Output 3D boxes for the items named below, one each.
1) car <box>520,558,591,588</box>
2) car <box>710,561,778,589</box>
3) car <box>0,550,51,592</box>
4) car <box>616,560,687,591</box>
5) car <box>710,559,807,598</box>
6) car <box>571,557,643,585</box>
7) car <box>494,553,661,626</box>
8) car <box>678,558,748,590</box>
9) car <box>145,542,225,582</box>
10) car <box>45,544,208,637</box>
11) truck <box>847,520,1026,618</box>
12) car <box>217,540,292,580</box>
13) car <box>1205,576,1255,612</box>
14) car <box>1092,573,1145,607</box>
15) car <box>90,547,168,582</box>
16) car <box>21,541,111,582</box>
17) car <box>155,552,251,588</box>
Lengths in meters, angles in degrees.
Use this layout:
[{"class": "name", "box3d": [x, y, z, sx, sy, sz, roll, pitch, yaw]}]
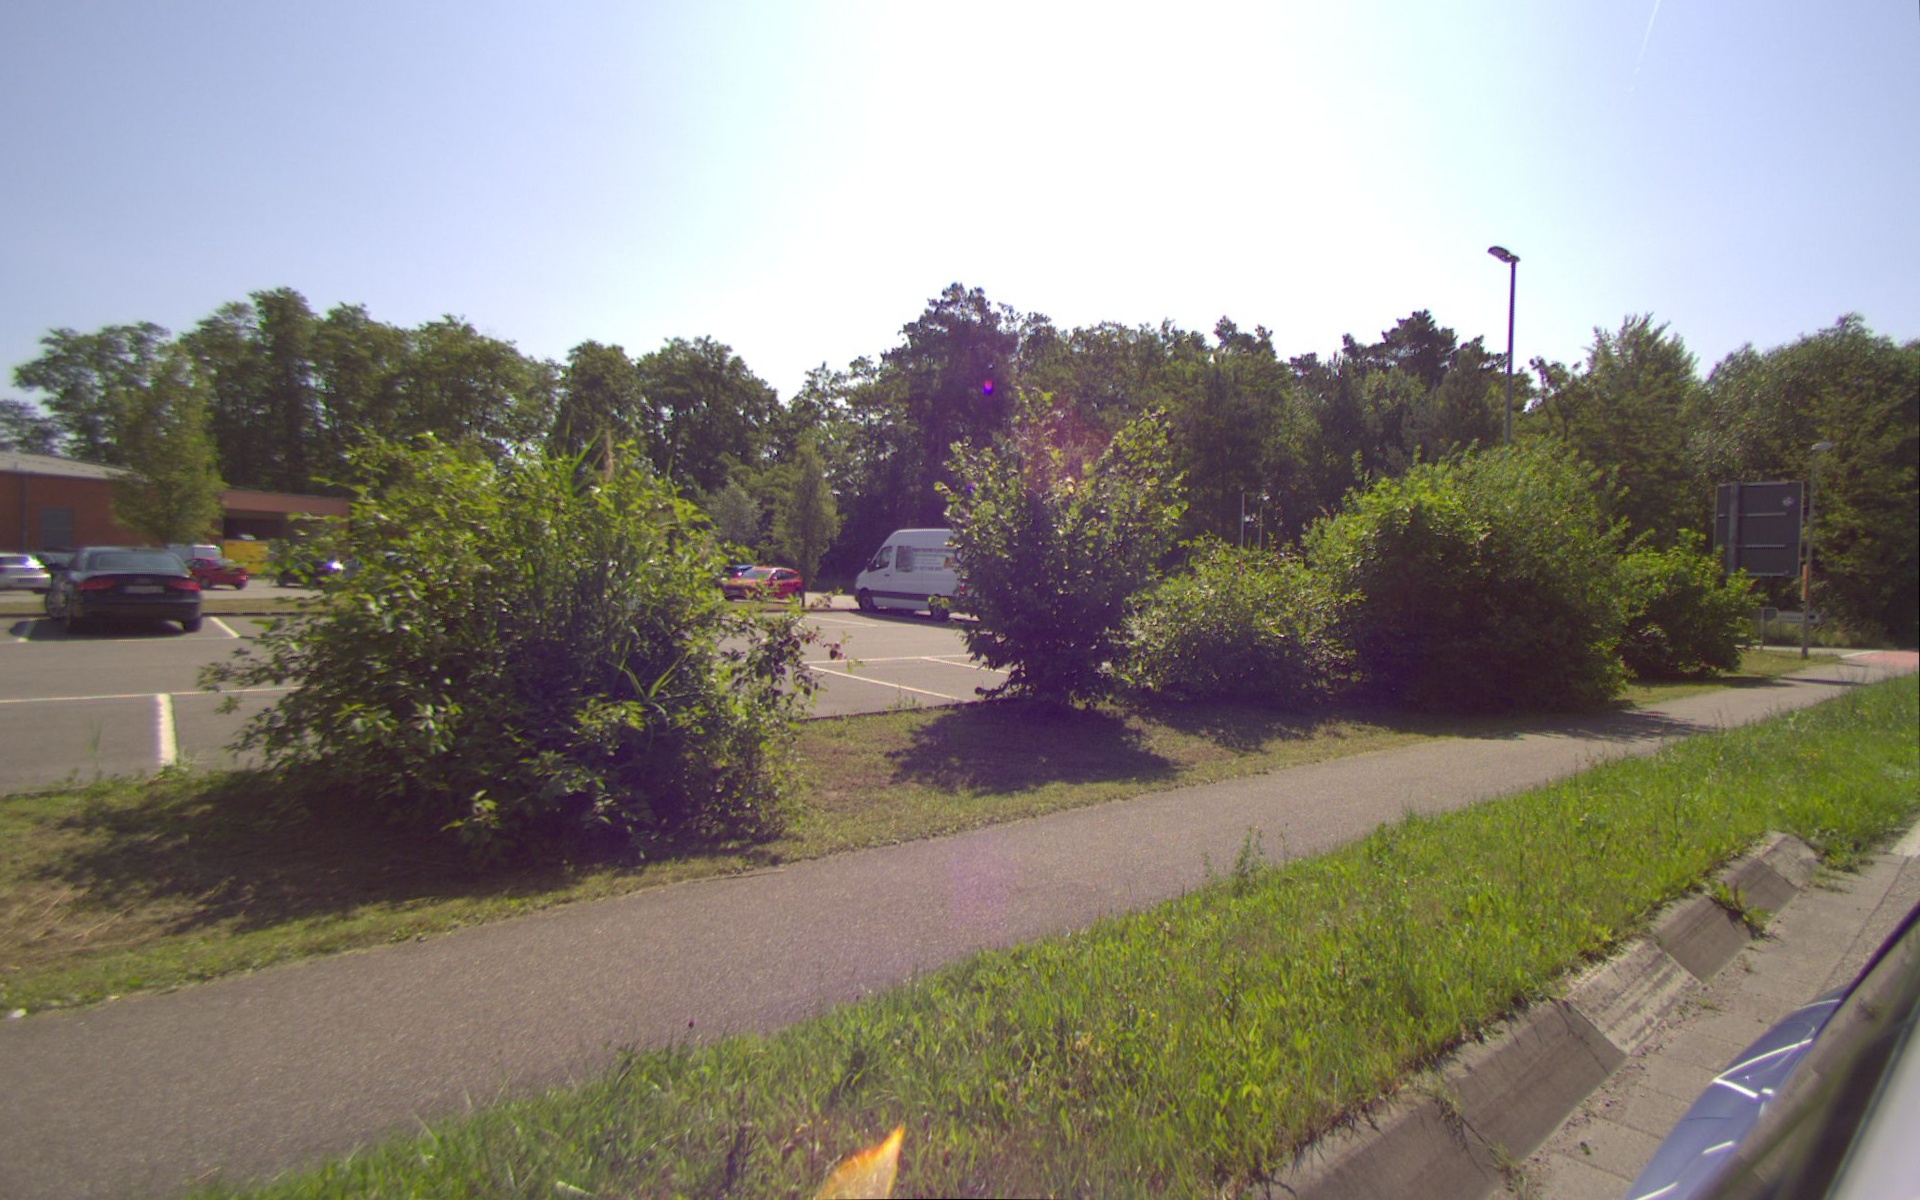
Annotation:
[{"class": "car", "box3d": [-25.555, -1.695, 64.053, 1.922, 1.732, 3.969, 2, 2, 23]}, {"class": "car", "box3d": [-12.415, -1.446, 58.461, 1.644, 1.504, 4.339, 2, 2, 23]}, {"class": "car", "box3d": [-33.773, -1.036, 35.299, 3.963, 1.415, 1.873, 2, 1, 28]}, {"class": "car", "box3d": [-18.554, -1.463, 61.017, 2.049, 1.732, 3.969, 2, 2, 23]}, {"class": "car", "box3d": [-8.318, -0.888, 42.210, 1.975, 1.483, 4.467, 2, 2, 19]}, {"class": "car", "box3d": [-21.555, -1.740, 61.958, 1.775, 1.616, 4.229, 2, 1, 22]}, {"class": "car", "box3d": [-8.787, -0.276, 23.117, 3.957, 1.471, 1.877, 3, 2, 40]}, {"class": "car", "box3d": [-14.558, -1.521, 59.801, 2.049, 1.732, 3.969, 2, 2, 23]}, {"class": "car", "box3d": [-42.648, -2.087, 55.694, 3.961, 2.039, 1.982, 2, 1, 27]}, {"class": "car", "box3d": [-14.677, -0.228, 17.744, 3.987, 1.445, 1.722, 3, 2, 43]}, {"class": "truck", "box3d": [-0.815, -0.948, 29.913, 2.164, 2.637, 5.610, 1, 2, -41]}, {"class": "car", "box3d": [-41.506, -2.356, 59.534, 3.985, 2.275, 1.982, 2, 1, 27]}, {"class": "car", "box3d": [12.851, -0.309, 47.975, 1.740, 1.549, 4.342, 2, 2, 22]}, {"class": "car", "box3d": [7.774, -0.519, 49.494, 1.740, 1.549, 3.638, 2, 2, 22]}, {"class": "car", "box3d": [-43.633, -1.865, 53.160, 3.734, 1.660, 1.767, 3, 2, 26]}, {"class": "car", "box3d": [-44.428, -1.899, 50.296, 3.958, 1.905, 1.983, 2, 1, 25]}, {"class": "car", "box3d": [-35.055, -1.396, 46.871, 3.953, 1.537, 1.788, 3, 2, 22]}]
